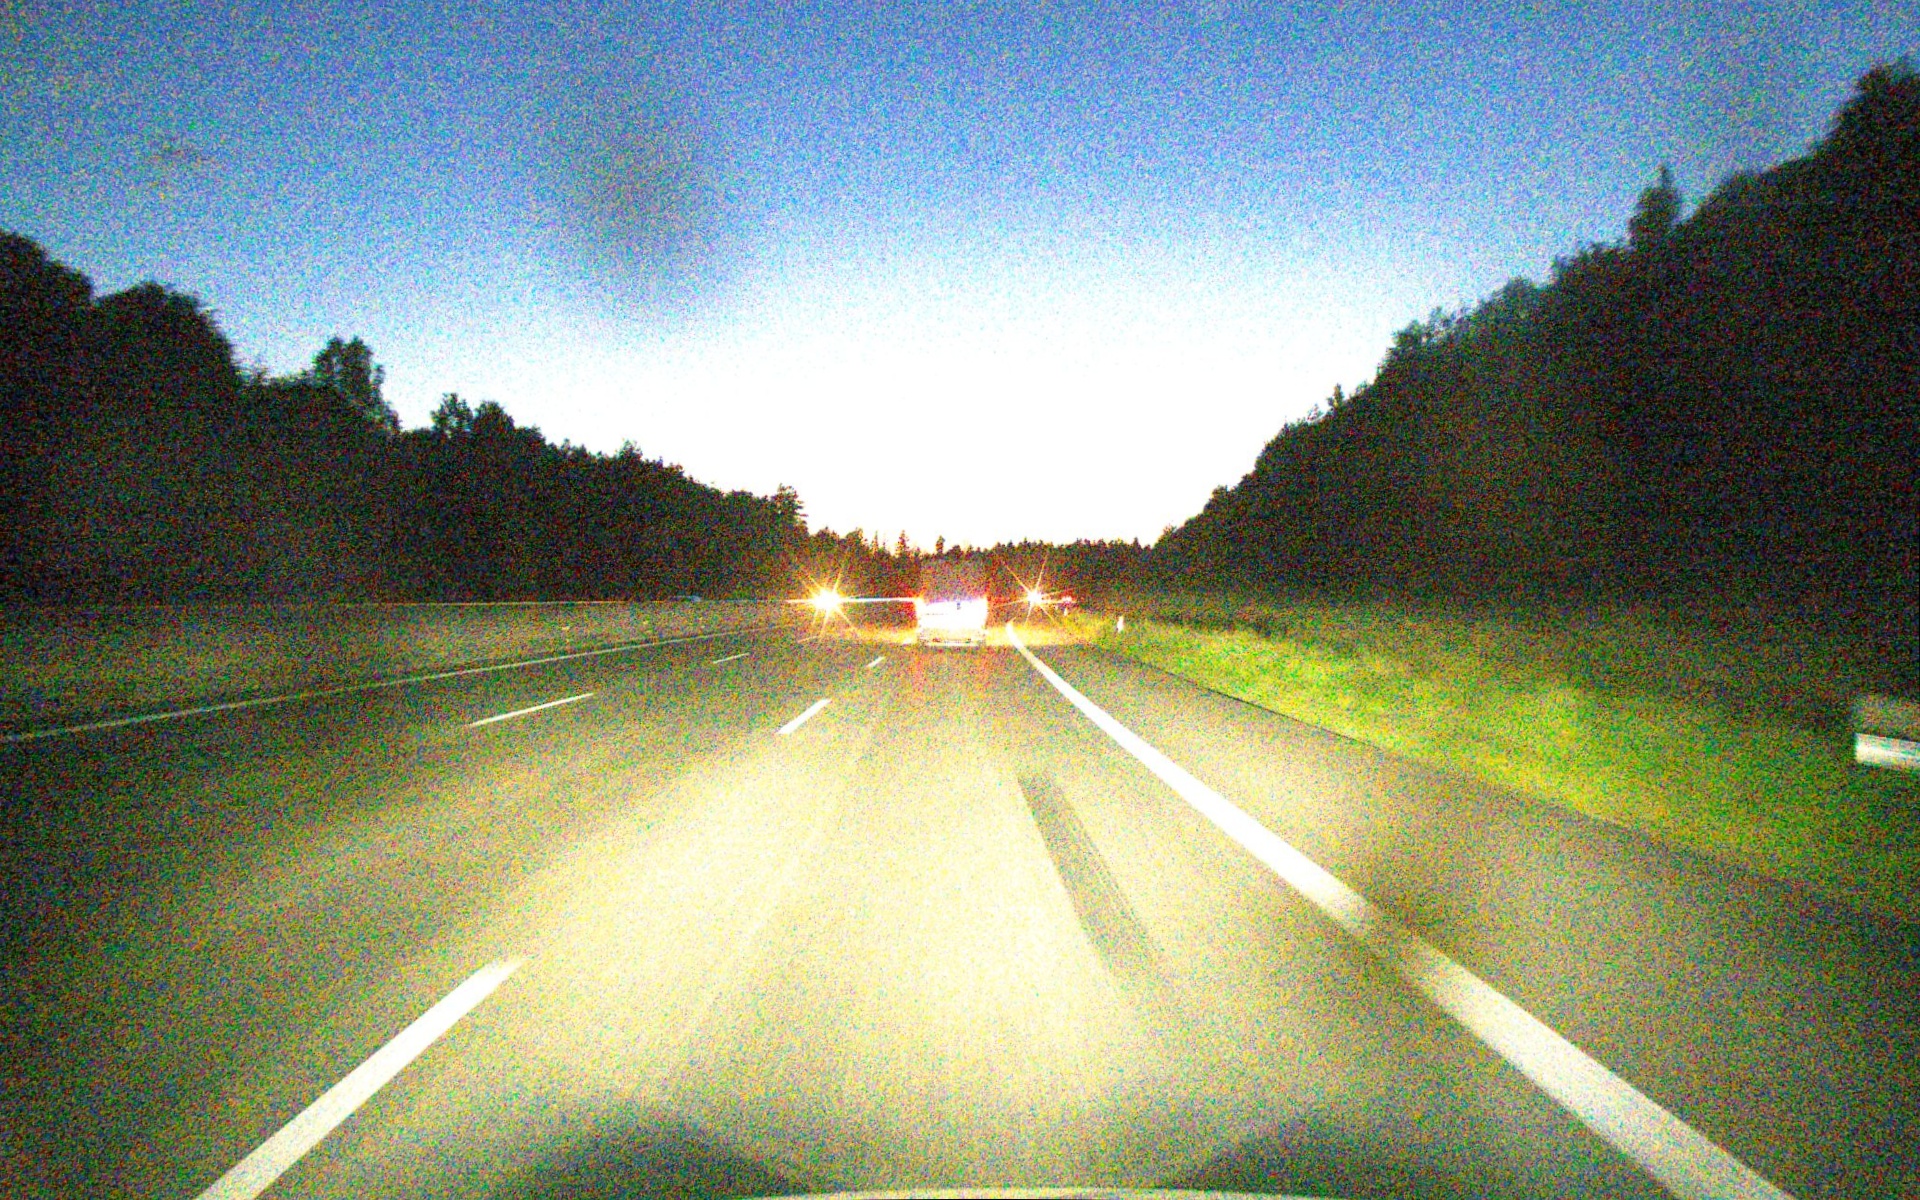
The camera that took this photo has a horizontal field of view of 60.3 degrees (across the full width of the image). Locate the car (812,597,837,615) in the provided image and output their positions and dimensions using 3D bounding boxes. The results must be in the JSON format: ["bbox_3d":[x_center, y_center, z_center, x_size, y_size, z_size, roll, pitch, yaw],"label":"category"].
[{"bbox_3d":[-14.185,0.654,173.516,1.952,1.818,4.401,1,-1,3],"label":"car"}]

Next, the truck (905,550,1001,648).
[{"bbox_3d":[-0.338,-0.002,49.944,2.577,2.670,8.680,1,0,-2],"label":"truck"}]
